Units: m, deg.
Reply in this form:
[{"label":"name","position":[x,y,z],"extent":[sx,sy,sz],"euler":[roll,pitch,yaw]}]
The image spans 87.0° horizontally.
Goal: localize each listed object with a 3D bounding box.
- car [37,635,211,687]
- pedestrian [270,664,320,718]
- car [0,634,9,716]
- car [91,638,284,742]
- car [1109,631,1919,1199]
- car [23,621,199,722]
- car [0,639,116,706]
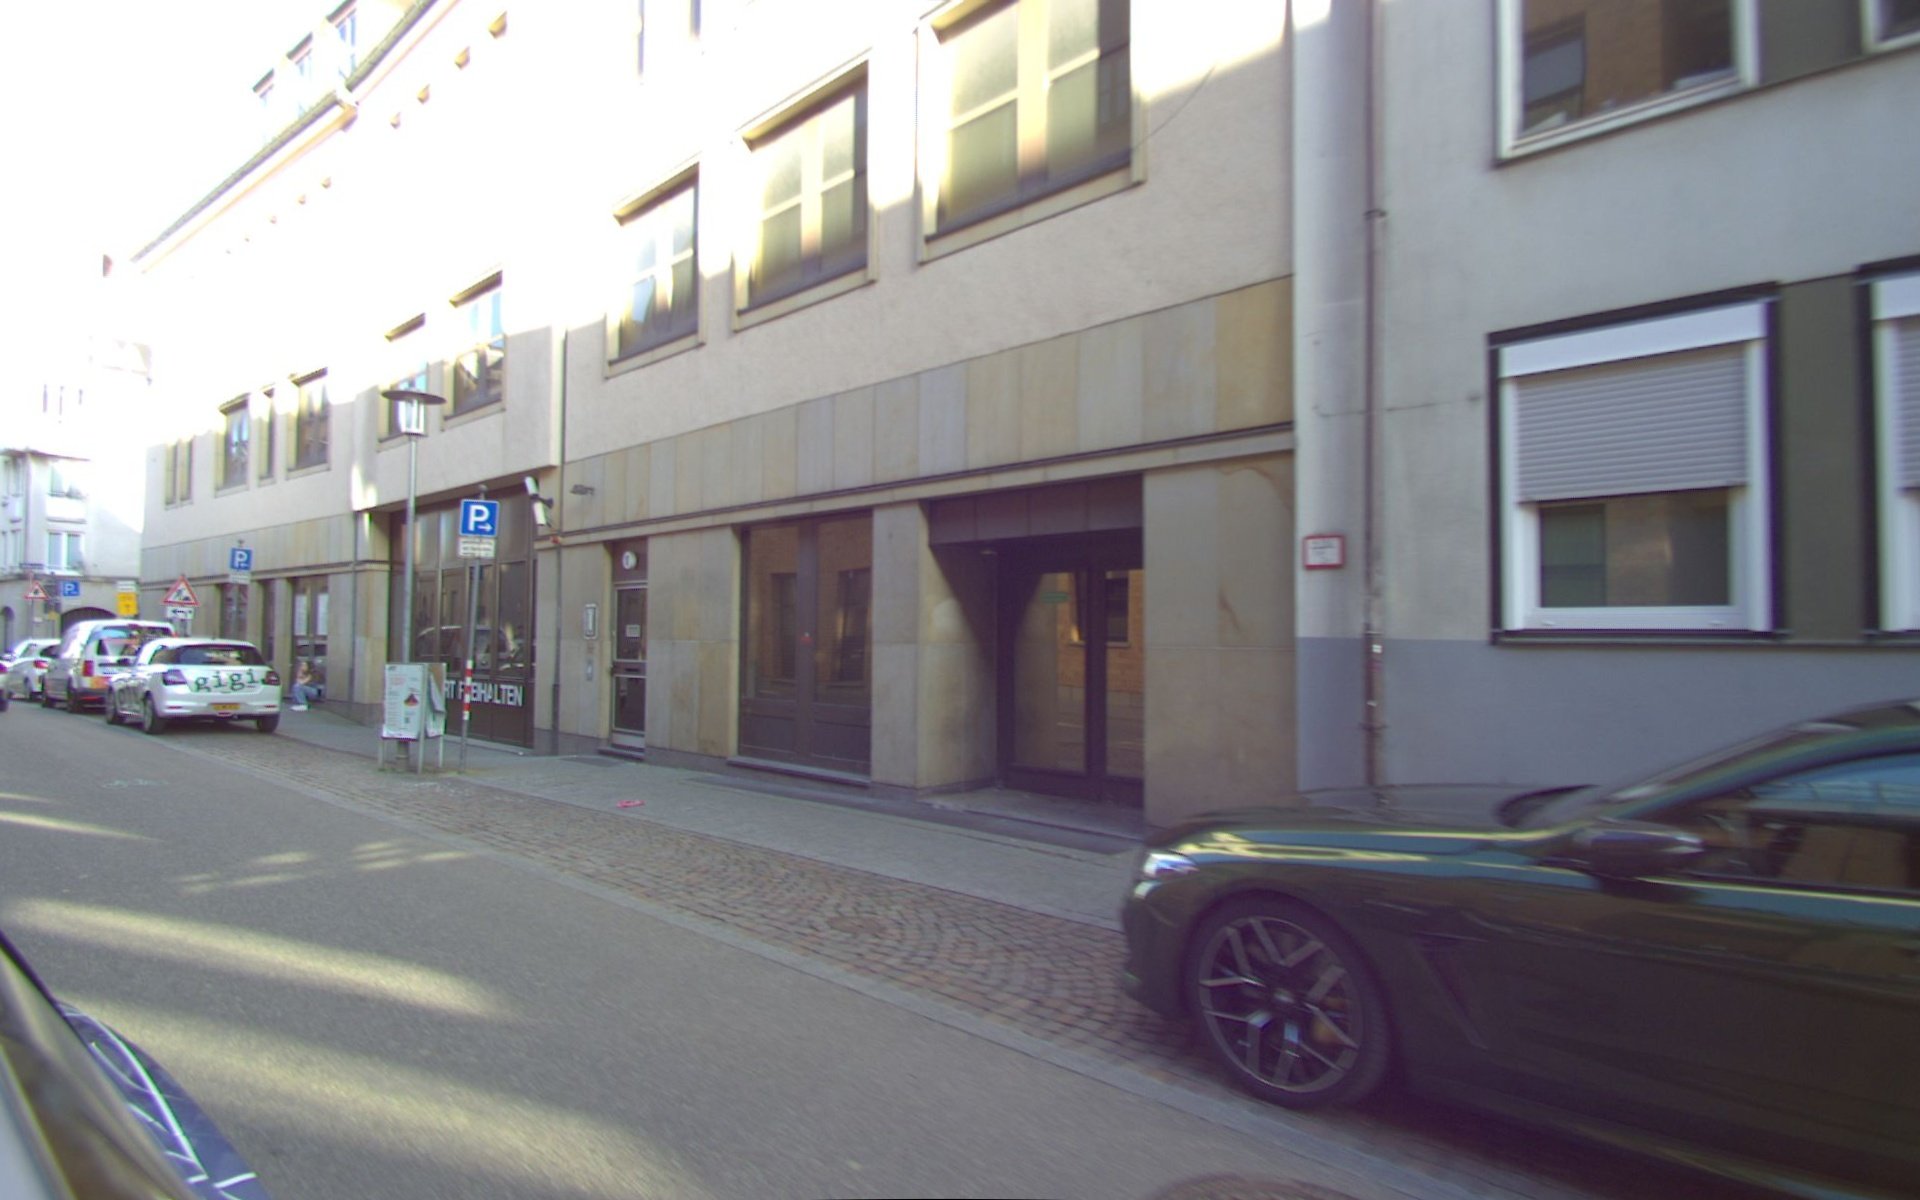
[{"label":"car","position":[-26.965,1.926,32.774],"extent":[1.757,1.558,3.960],"euler":[-1,-3,29]},{"label":"pedestrian","position":[-13.502,1.837,20.560],"extent":[0.616,1.043,0.649],"euler":[-2,-3,36]},{"label":"car","position":[-20.082,1.427,19.683],"extent":[4.155,1.529,1.698],"euler":[-2,-4,39]},{"label":"car","position":[-12.937,1.446,16.878],"extent":[3.772,1.534,1.653],"euler":[-2,-6,39]},{"label":"car","position":[2.904,0.896,2.802],"extent":[4.729,1.542,1.869],"euler":[-3,-6,43]},{"label":"car","position":[-17.613,1.439,20.922],"extent":[4.729,1.872,1.880],"euler":[-2,-5,40]},{"label":"car","position":[-22.251,1.727,24.595],"extent":[3.792,1.504,1.721],"euler":[-2,-5,36]}]
